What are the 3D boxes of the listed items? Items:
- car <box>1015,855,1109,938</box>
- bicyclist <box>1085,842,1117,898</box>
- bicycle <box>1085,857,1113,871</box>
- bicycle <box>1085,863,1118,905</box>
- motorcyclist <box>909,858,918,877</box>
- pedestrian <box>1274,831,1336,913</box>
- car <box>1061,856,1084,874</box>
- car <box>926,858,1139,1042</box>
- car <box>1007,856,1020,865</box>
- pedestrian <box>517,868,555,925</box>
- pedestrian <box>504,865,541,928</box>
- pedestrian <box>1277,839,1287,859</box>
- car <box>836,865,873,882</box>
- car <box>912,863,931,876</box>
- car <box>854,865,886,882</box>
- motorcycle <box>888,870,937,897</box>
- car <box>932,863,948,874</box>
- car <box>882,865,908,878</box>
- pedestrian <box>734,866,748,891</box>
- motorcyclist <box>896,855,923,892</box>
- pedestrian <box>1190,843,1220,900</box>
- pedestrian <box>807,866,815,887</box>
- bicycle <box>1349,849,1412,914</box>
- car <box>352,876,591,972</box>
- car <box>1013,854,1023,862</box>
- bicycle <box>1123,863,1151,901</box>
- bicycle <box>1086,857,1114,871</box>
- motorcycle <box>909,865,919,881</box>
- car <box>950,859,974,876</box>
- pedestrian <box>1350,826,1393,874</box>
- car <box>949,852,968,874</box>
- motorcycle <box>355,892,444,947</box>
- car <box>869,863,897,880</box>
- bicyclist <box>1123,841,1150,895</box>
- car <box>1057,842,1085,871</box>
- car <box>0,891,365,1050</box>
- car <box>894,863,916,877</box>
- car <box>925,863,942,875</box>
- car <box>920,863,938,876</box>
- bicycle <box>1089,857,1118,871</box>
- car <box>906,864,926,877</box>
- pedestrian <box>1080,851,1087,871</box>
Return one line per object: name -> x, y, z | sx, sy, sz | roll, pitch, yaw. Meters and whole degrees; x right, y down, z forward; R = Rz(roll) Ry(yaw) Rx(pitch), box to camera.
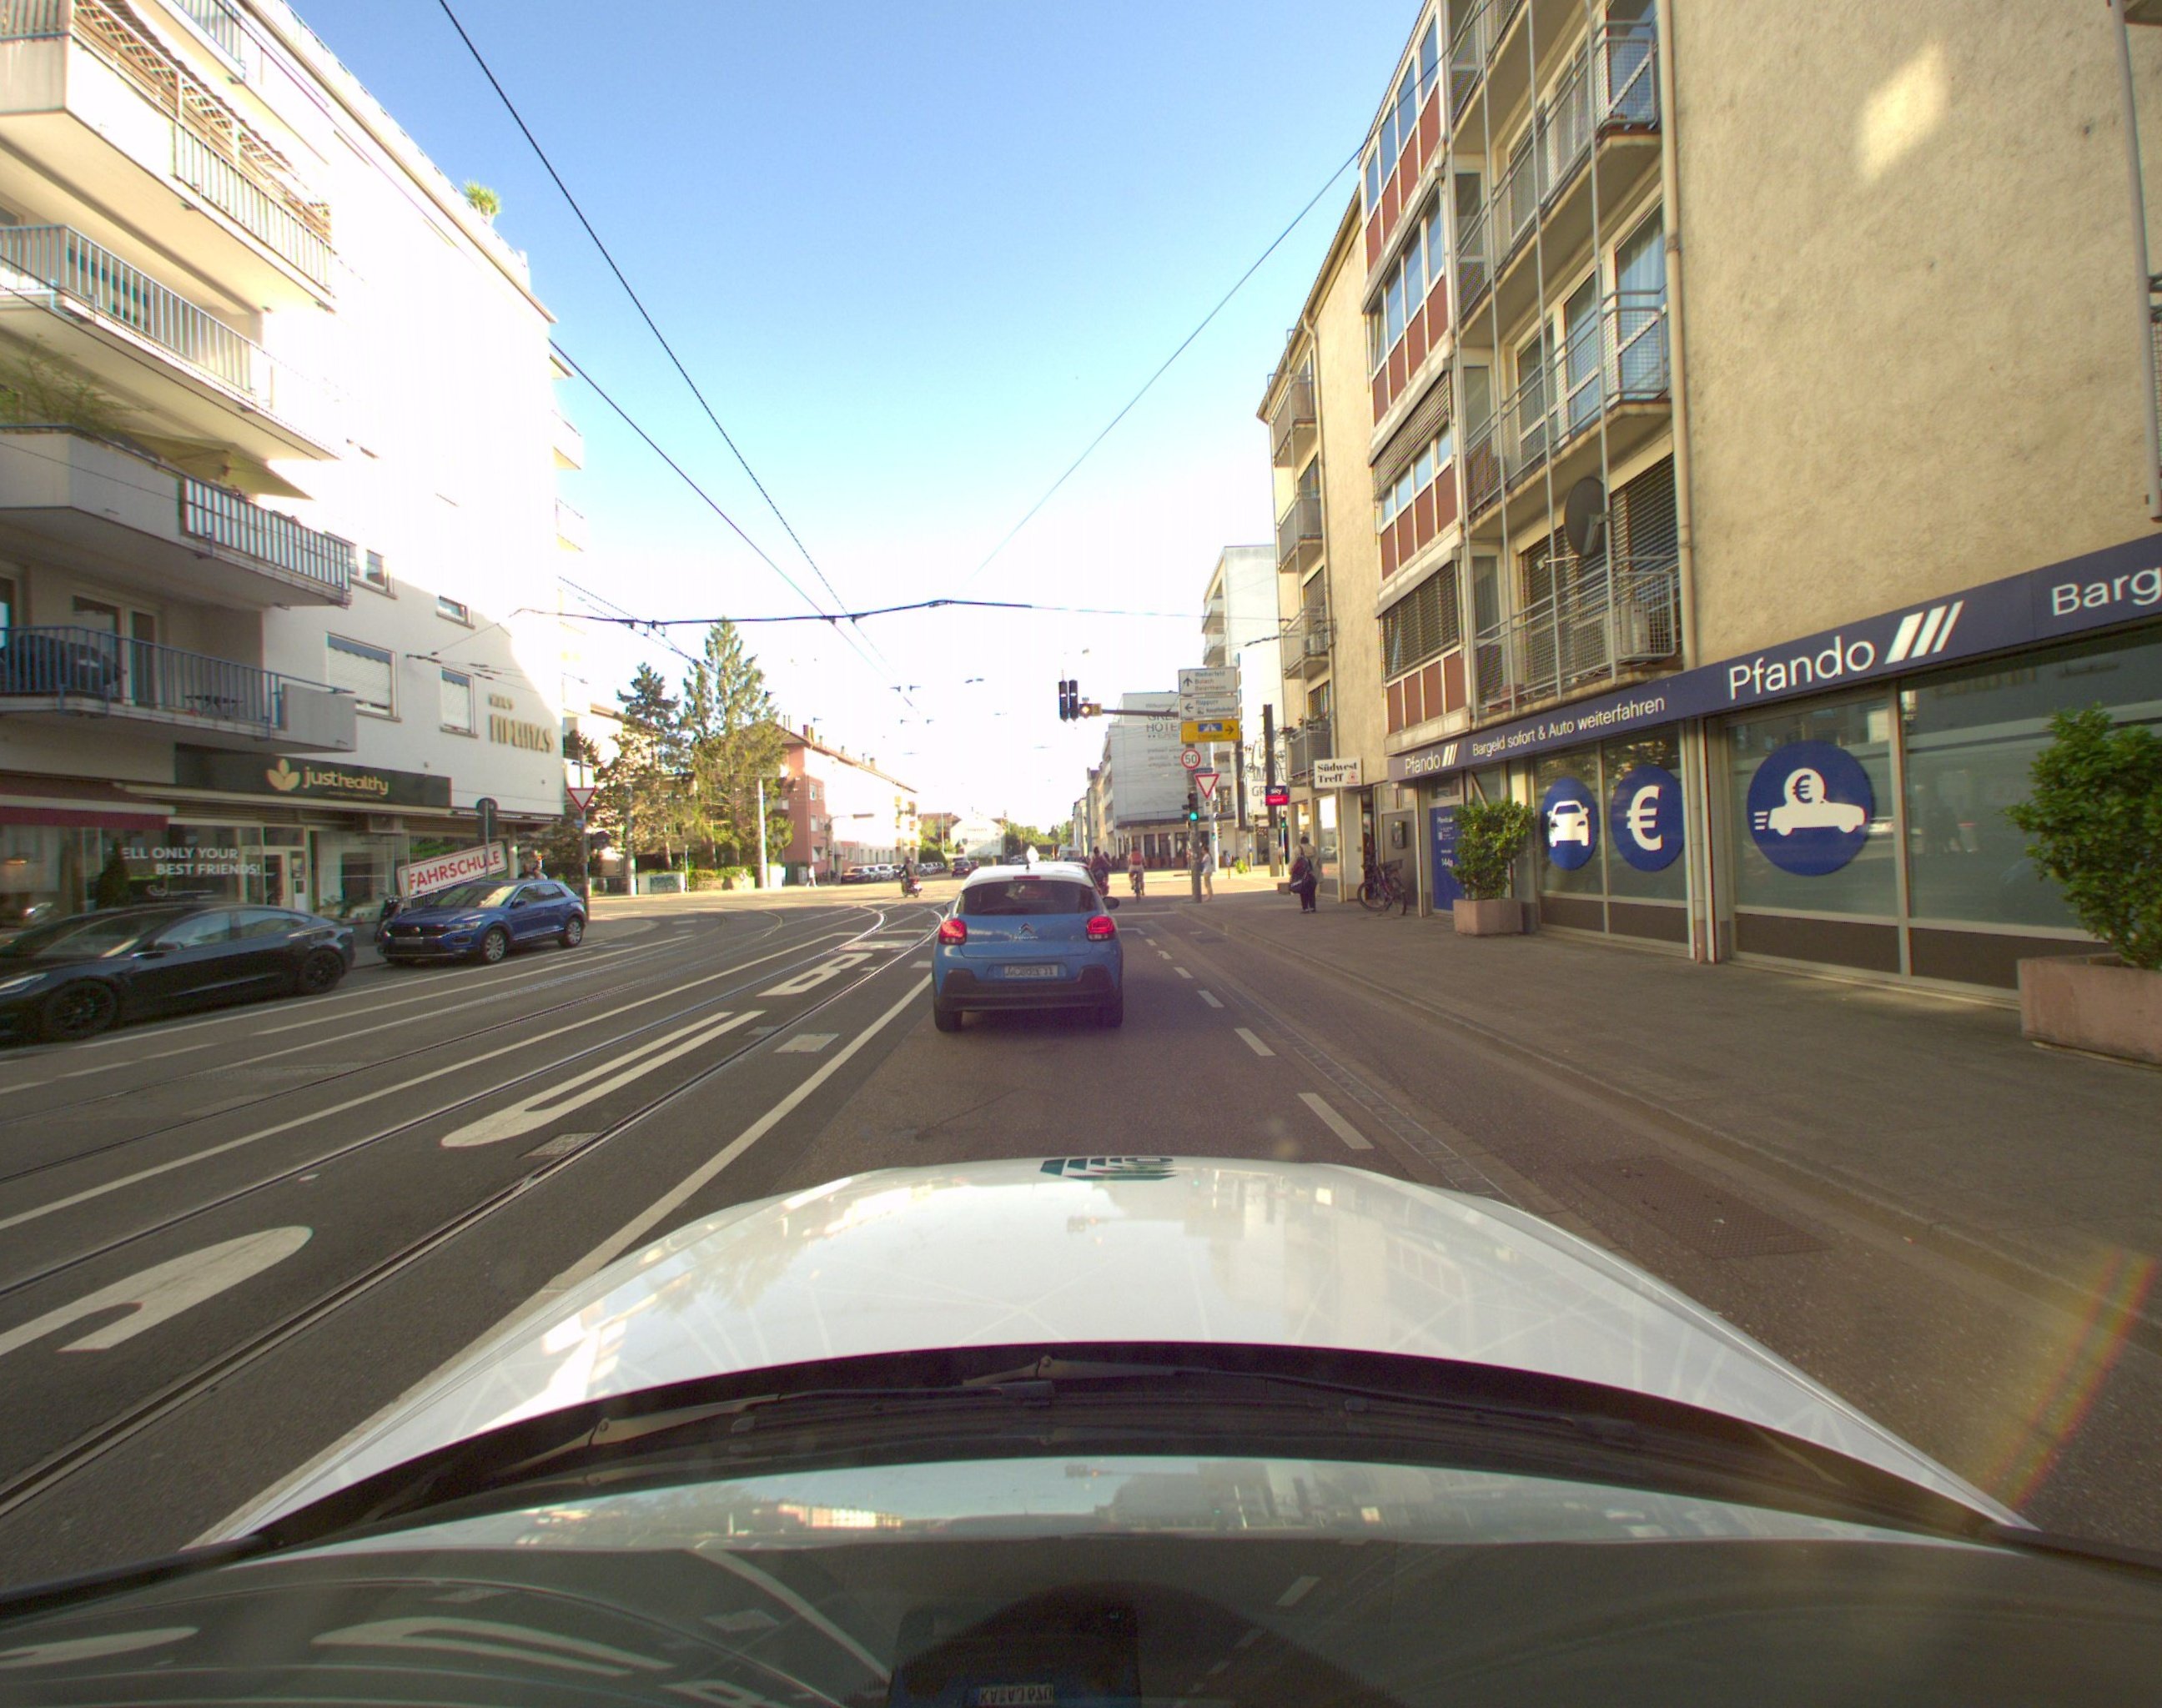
car -> -0.442, 0.811, 17.265 | 1.780, 1.521, 3.758 | 0, 0, -3
bicyclist -> 0.605, 0.492, 24.992 | 0.937, 1.673, 1.079 | 0, -1, 0
bicycle -> 1.537, 0.816, 68.416 | 2.246, 1.001, 0.855 | -4, -1, -4
bicycle -> 0.606, 0.882, 24.753 | 0.937, 1.223, 2.094 | 0, -1, 1
motorcyclist -> -13.492, 1.072, 65.692 | 0.694, 1.497, 0.681 | -2, -2, -12
pedestrian -> 4.631, 0.369, 16.884 | 0.883, 1.592, 0.809 | -5, 1, -7
car -> -0.752, 0.937, 67.953 | 1.654, 1.431, 3.882 | 0, -1, -4
car -> -0.633, 0.796, 8.556 | 1.735, 1.452, 3.652 | -1, 0, -8
car -> -14.112, 1.357, 170.539 | 2.212, 1.932, 4.946 | 0, -1, -1
pedestrian -> -17.915, 1.390, 26.793 | 0.731, 1.792, 0.663 | -2, 0, 5
pedestrian -> -17.198, 1.311, 25.104 | 0.568, 1.900, 0.742 | -2, -3, 16
pedestrian -> 15.972, -0.372, 64.667 | 0.604, 1.608, 0.673 | -1, -1, 29
car -> -19.340, 1.689, 69.679 | 2.149, 1.432, 4.435 | 0, -2, -3
car -> -20.193, 2.002, 103.276 | 1.865, 1.576, 3.995 | 0, -1, -3
car -> -19.420, 1.789, 75.159 | 1.897, 1.436, 4.102 | 0, -1, 0
motorcycle -> -6.925, 1.192, 33.461 | 1.917, 1.047, 0.863 | -1, -1, 32
car -> -20.646, 2.146, 119.043 | 1.865, 1.576, 3.995 | 0, -1, -3
car -> -19.780, 1.843, 86.689 | 1.942, 1.239, 4.279 | 0, -1, -2
pedestrian -> -24.380, 1.743, 58.413 | 0.788, 1.722, 0.696 | 0, -1, -42
motorcyclist -> -7.066, 0.802, 33.554 | 0.720, 1.488, 0.863 | -1, -1, 32
pedestrian -> 3.690, 0.521, 24.140 | 0.534, 1.623, 0.737 | -7, -3, 23
pedestrian -> -20.166, 1.649, 60.824 | 0.517, 1.568, 0.571 | 0, -1, -14
bicycle -> 5.748, 0.517, 15.738 | 0.495, 1.161, 1.776 | -2, -1, -1
car -> -11.882, 1.274, 16.305 | 1.765, 1.503, 4.233 | 0, 1, -3
car -> -14.533, 0.904, 187.956 | 2.068, 1.762, 5.034 | 0, -1, -1
bicycle -> 1.822, 0.872, 26.368 | 0.807, 1.181, 2.068 | 0, -1, 6
bicycle -> 1.567, 0.805, 67.293 | 2.246, 1.001, 0.855 | -4, -1, -4
motorcycle -> -13.488, 1.532, 65.714 | 0.712, 1.220, 1.957 | -2, -2, -11
car -> -11.177, 1.285, 76.821 | 1.775, 1.486, 3.824 | -3, 0, -3
pedestrian -> 6.847, -0.082, 19.213 | 0.627, 1.087, 0.672 | -3, 1, -35
car -> -17.999, 1.370, 119.731 | 2.411, 3.142, 3.487 | 0, -1, -1
motorcycle -> -15.838, 1.498, 18.990 | 0.605, 1.134, 1.795 | 0, -1, -2
car -> -19.373, 1.683, 79.817 | 1.737, 1.526, 4.227 | 0, -1, -1
bicyclist -> 1.790, 0.453, 26.116 | 0.807, 1.692, 0.937 | 0, -1, 6
car -> -0.934, 0.257, 73.016 | 2.260, 2.482, 5.002 | -1, 0, -3
car -> -11.999, 1.297, 10.421 | 1.764, 1.475, 4.443 | 0, -1, -1
car -> -20.018, 1.827, 92.729 | 1.865, 1.576, 3.995 | 0, -1, -3
car -> -20.536, 2.096, 113.578 | 1.865, 1.576, 3.995 | 0, -1, -3
car -> -20.326, 2.053, 108.886 | 1.865, 1.576, 3.995 | 0, -1, -3
bicycle -> 1.795, 0.801, 65.919 | 2.246, 1.001, 0.855 | -4, -1, -4
car -> -19.959, 1.960, 98.790 | 1.865, 1.576, 3.995 | 0, -1, -3
pedestrian -> 0.193, 0.583, 69.777 | 0.611, 1.654, 0.671 | 0, -1, 0
